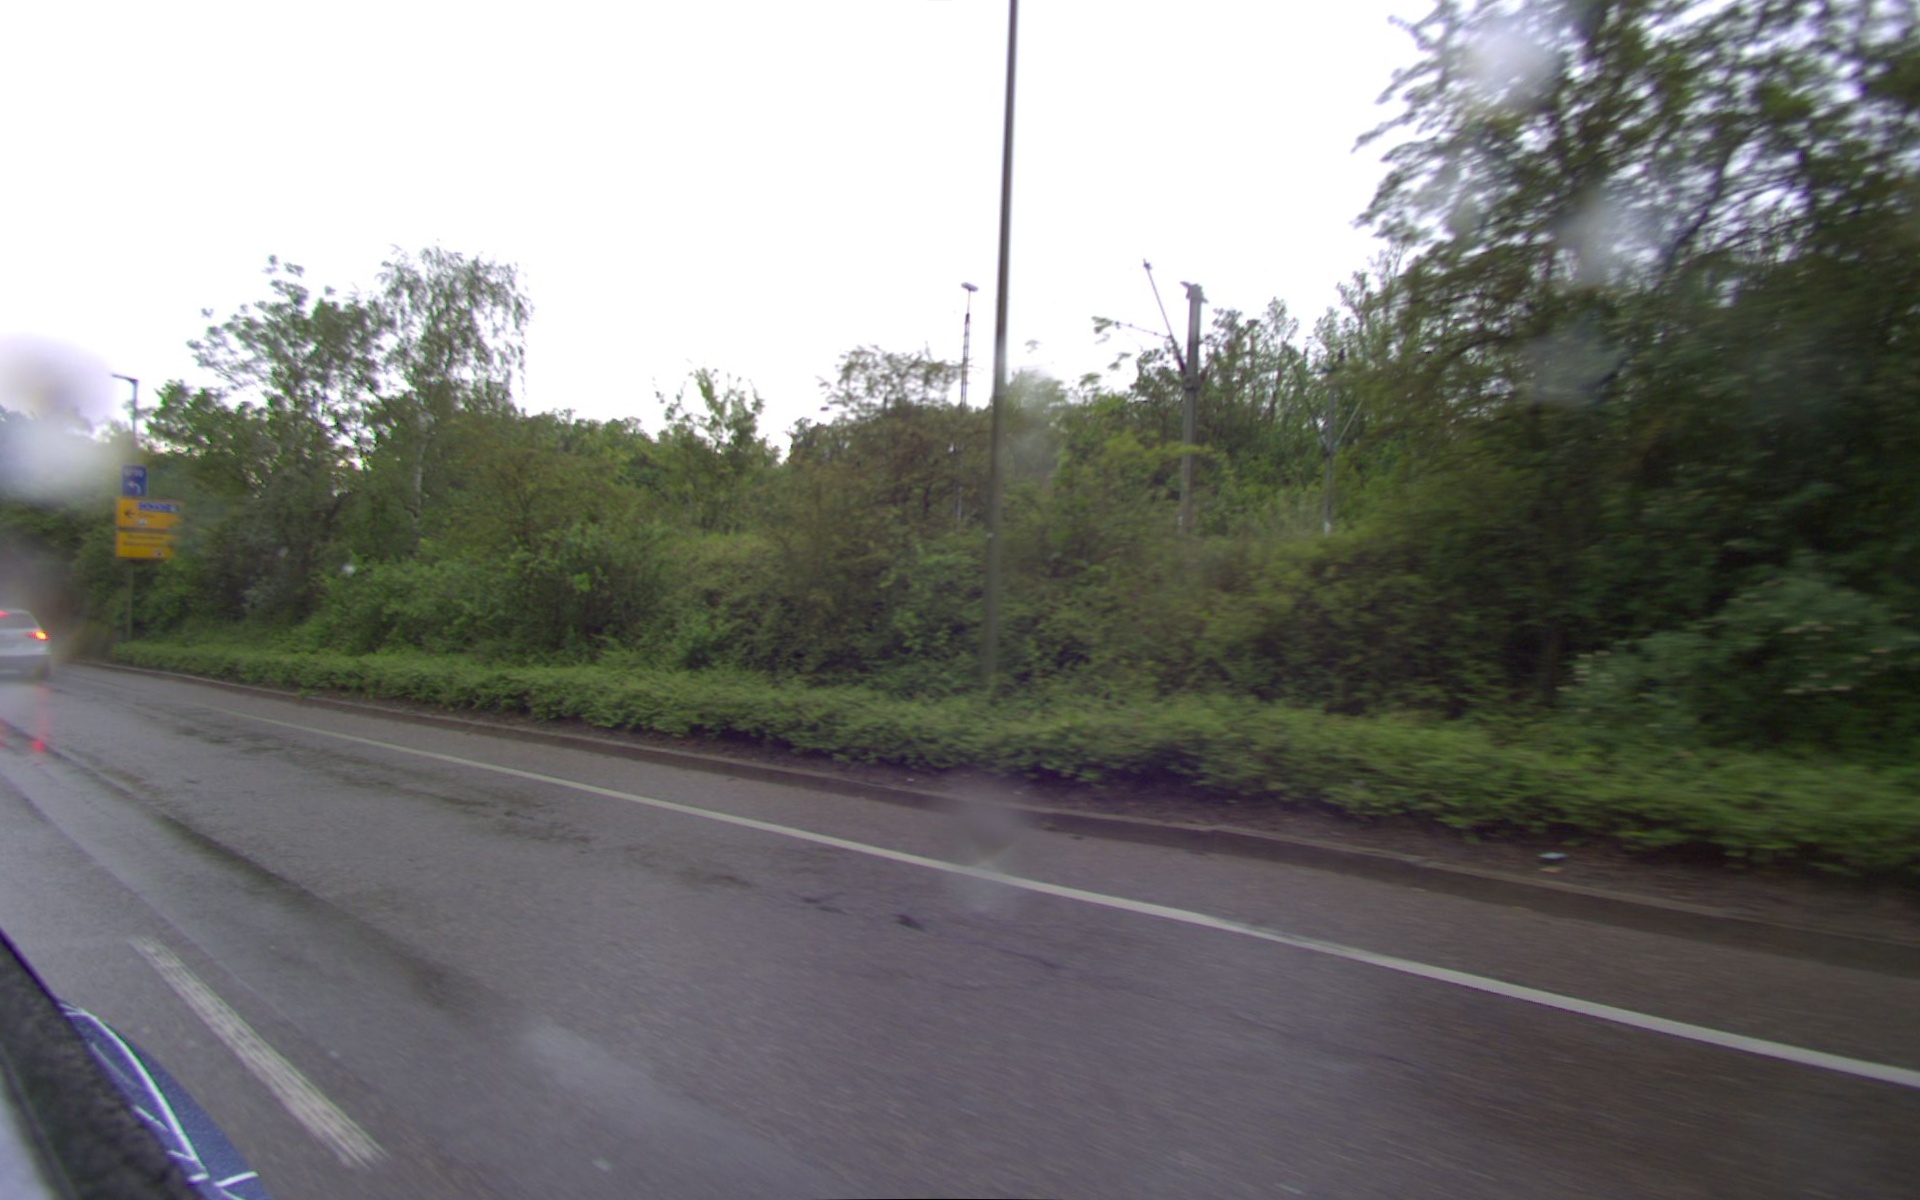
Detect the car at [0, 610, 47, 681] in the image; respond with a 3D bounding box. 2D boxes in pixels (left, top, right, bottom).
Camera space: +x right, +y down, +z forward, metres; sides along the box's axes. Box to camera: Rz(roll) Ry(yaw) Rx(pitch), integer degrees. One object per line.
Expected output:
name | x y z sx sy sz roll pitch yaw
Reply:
car | -23.534 1.073 24.359 4.090 1.627 1.804 -1 -1 40
